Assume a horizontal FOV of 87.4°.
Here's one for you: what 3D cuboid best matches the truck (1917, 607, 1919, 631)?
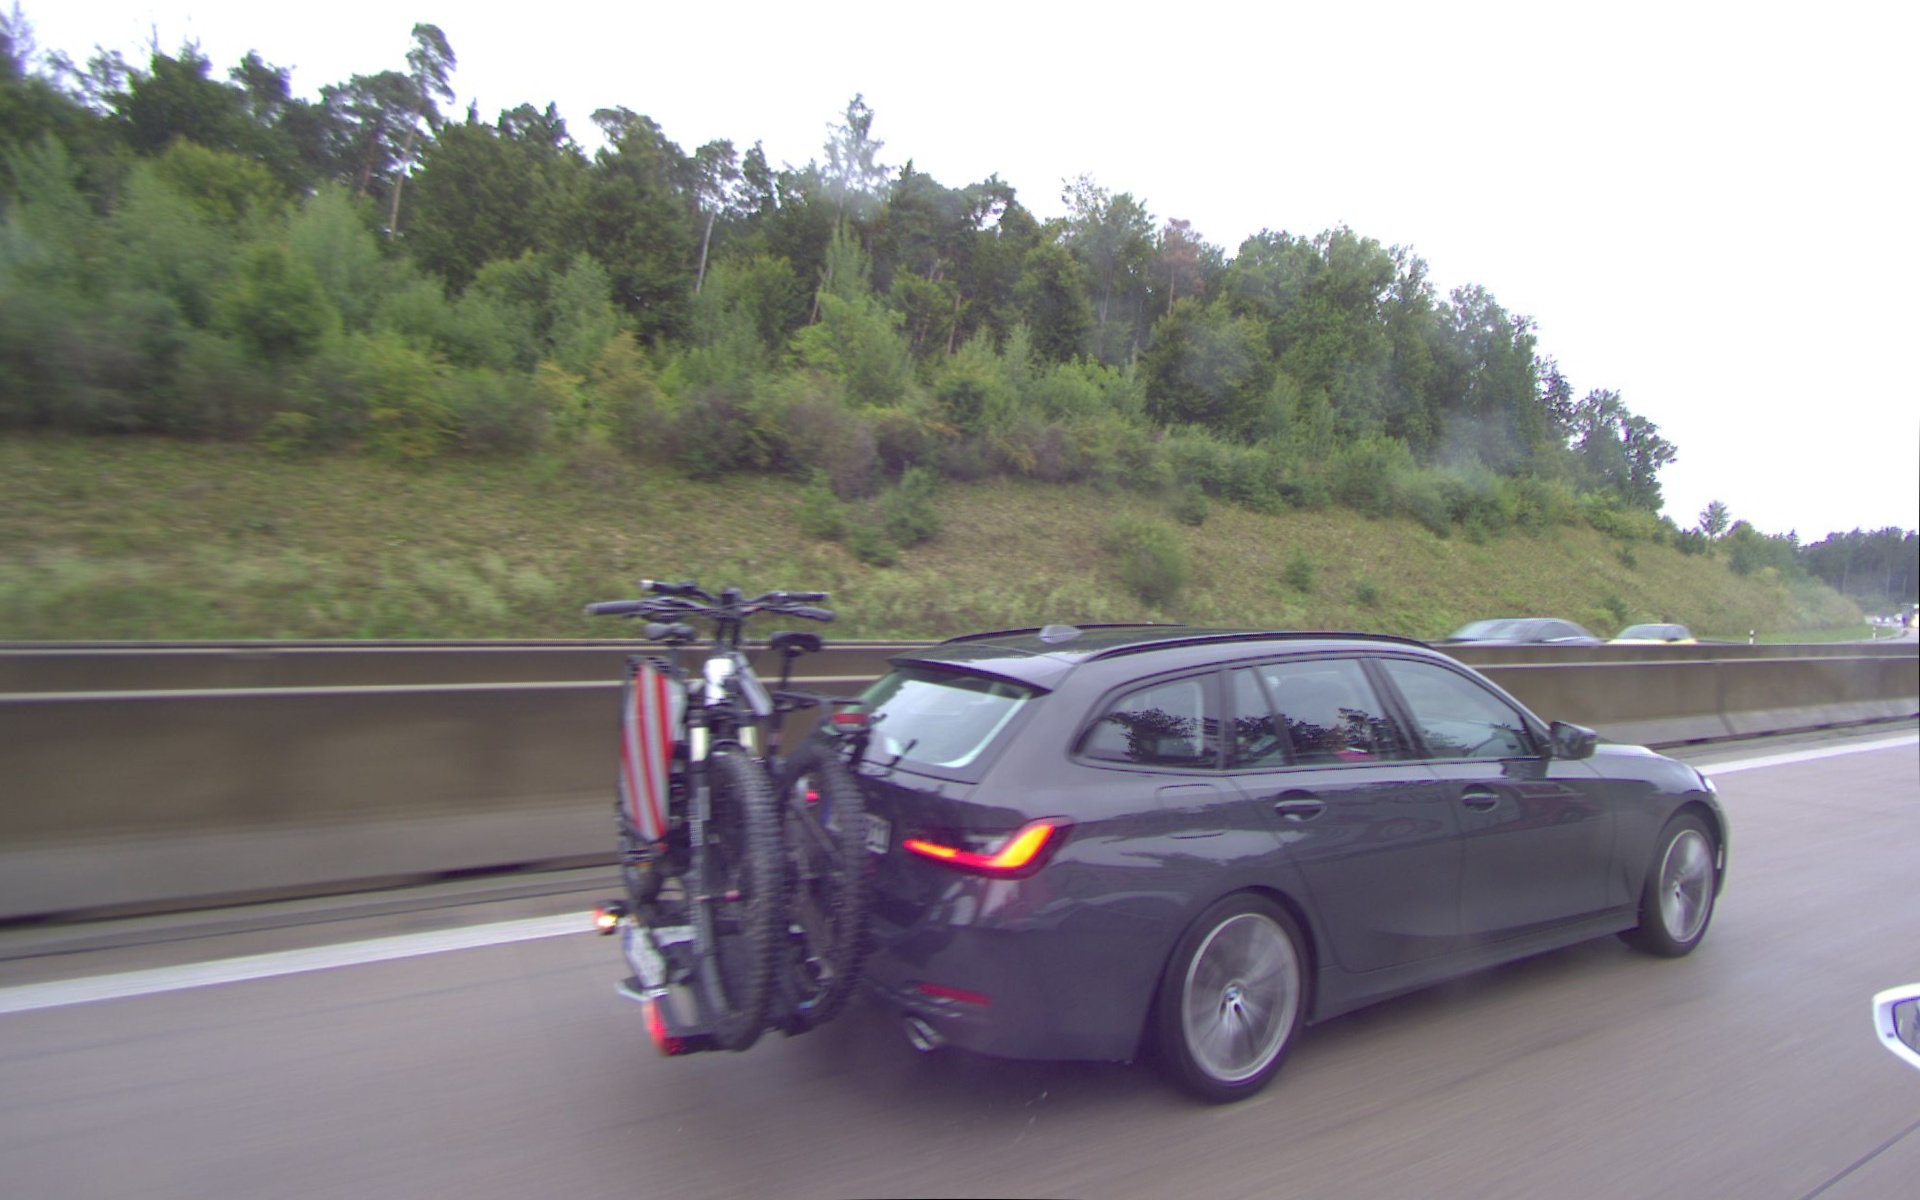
[{"bbox_3d":[157.818,3.135,163.251,7.311,3.941,2.880,1,0,-43],"label":"truck"}]

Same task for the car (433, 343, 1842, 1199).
[{"bbox_3d":[1.268,0.577,4.232,6.091,1.971,1.898,1,-1,-31],"label":"car"}]

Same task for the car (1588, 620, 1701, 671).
[{"bbox_3d":[22.021,1.419,32.279,4.239,1.507,1.564,1,-1,-34],"label":"car"}]

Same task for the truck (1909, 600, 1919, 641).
[{"bbox_3d":[98.030,2.113,100.801,8.046,4.013,2.904,1,-1,-38],"label":"truck"}]

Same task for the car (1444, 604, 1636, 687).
[{"bbox_3d":[12.163,0.913,21.011,3.956,1.569,1.854,1,-1,-32],"label":"car"}]
